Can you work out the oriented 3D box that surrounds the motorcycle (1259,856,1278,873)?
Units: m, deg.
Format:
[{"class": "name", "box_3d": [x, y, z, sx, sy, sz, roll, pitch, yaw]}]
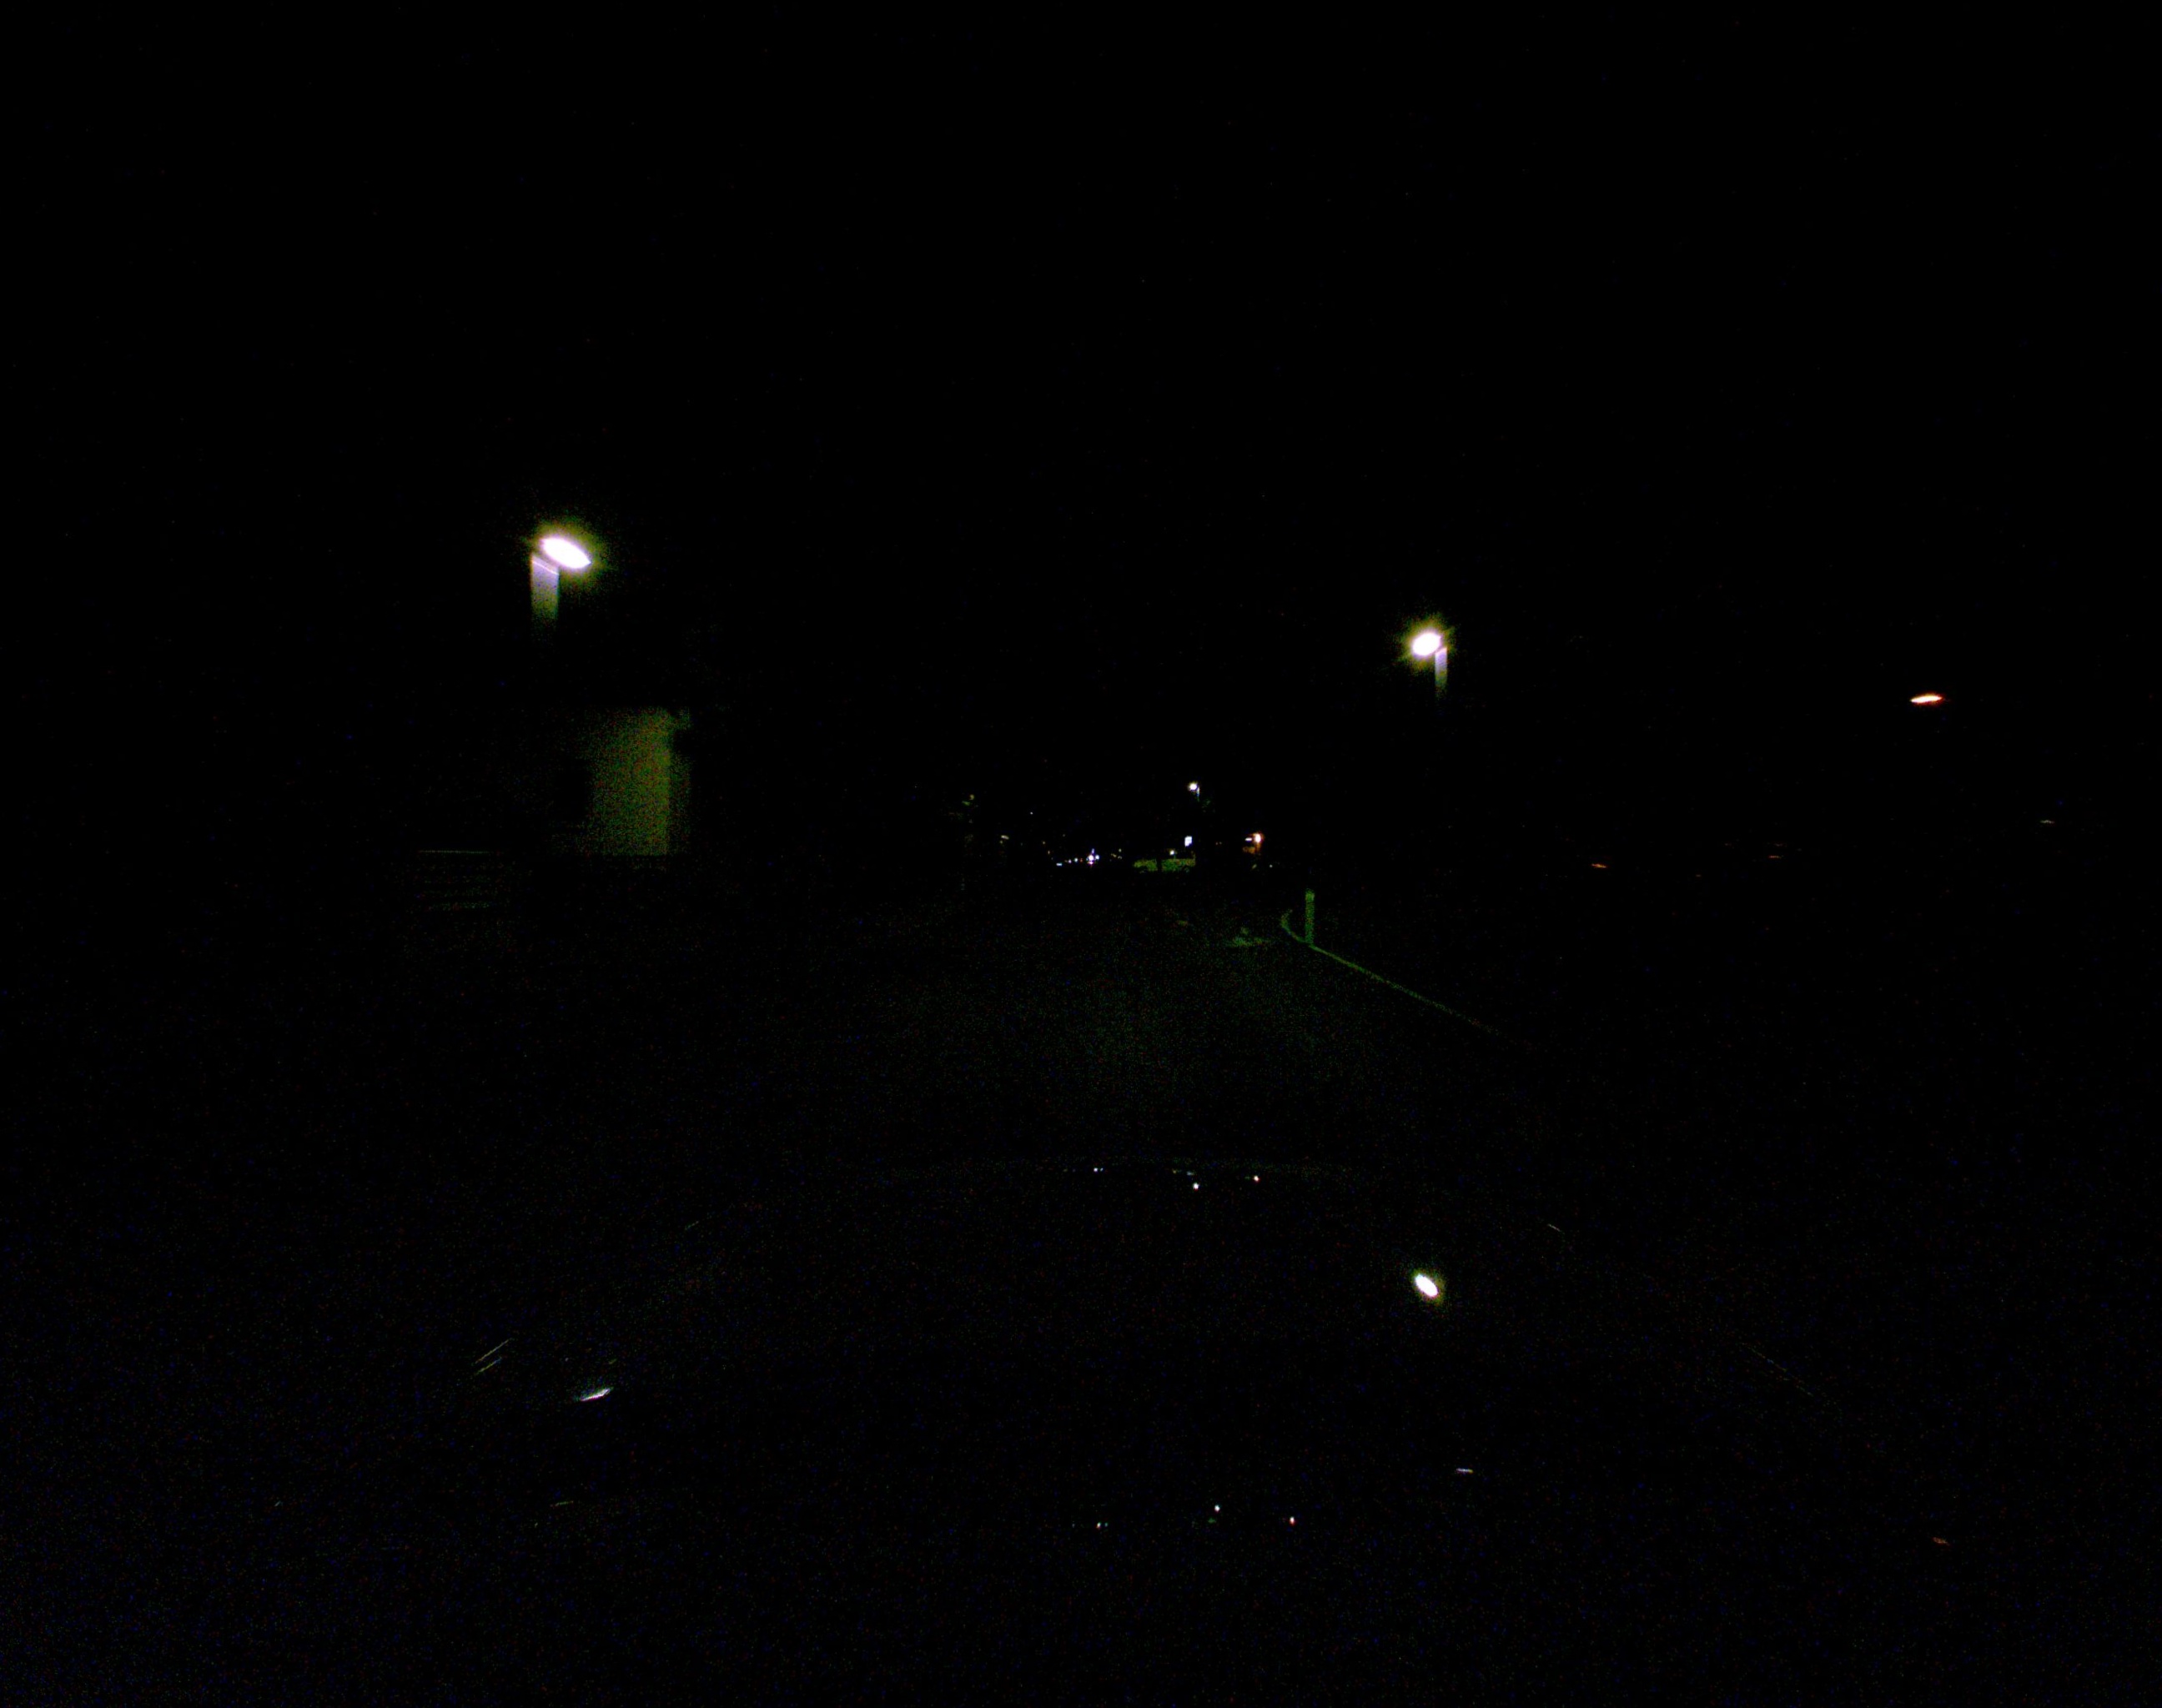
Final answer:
[{"class": "motorcycle", "box_3d": [15.665, 0.839, 67.968, 1.060, 1.327, 2.722, 0, 1, 25]}]

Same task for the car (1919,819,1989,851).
[{"class": "car", "box_3d": [48.339, -1.065, 45.091, 3.435, 1.670, 1.654, -2, 0, -25]}]

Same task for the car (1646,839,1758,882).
[{"class": "car", "box_3d": [24.805, 0.226, 32.543, 4.032, 1.548, 1.602, -2, 0, -20]}]

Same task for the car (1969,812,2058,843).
[{"class": "car", "box_3d": [54.497, -1.547, 47.611, 4.410, 1.670, 1.829, -2, 0, -18]}]

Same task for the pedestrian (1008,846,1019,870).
[{"class": "pedestrian", "box_3d": [-5.857, 0.356, 70.452, 0.782, 2.013, 1.205, 2, 0, 1]}]

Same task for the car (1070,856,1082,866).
[{"class": "car", "box_3d": [-0.663, 0.999, 118.839, 1.677, 1.331, 3.599, 0, 0, 0]}]

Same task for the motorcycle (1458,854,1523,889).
[{"class": "motorcycle", "box_3d": [15.467, 0.643, 30.748, 2.262, 1.214, 0.708, -2, 0, -14]}]

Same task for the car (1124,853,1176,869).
[{"class": "car", "box_3d": [7.109, 0.706, 84.173, 5.165, 1.469, 2.101, -1, 0, 0]}]

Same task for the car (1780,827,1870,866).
[{"class": "car", "box_3d": [34.368, -0.370, 37.609, 4.340, 1.670, 1.746, -2, 0, -29]}]

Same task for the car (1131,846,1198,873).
[{"class": "car", "box_3d": [6.622, 0.430, 65.221, 5.165, 2.013, 2.101, -1, 0, 0]}]

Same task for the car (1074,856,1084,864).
[{"class": "car", "box_3d": [-0.325, 0.926, 134.733, 1.677, 1.331, 3.599, 0, 0, 0]}]

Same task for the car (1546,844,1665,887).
[{"class": "car", "box_3d": [20.021, 0.422, 31.159, 3.625, 1.479, 1.855, -2, 0, -14]}]

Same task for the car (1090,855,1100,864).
[{"class": "car", "box_3d": [2.675, 1.037, 159.489, 1.921, 1.649, 3.821, -1, 0, 0]}]

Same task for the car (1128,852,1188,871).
[{"class": "car", "box_3d": [6.877, 0.643, 73.165, 5.165, 1.594, 2.101, -1, 0, 0]}]

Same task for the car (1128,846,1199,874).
[{"class": "car", "box_3d": [6.262, 0.463, 62.127, 5.165, 2.013, 2.101, -1, 0, 0]}]

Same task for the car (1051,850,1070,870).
[{"class": "car", "box_3d": [-2.156, 0.626, 86.029, 1.819, 1.986, 4.465, 2, 0, 0]}]

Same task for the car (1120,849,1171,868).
[{"class": "car", "box_3d": [6.893, 0.502, 86.898, 5.149, 1.887, 2.108, -1, 0, 10]}]

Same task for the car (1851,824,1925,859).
[{"class": "car", "box_3d": [40.738, -0.632, 41.110, 3.551, 1.670, 1.653, -2, 0, -28]}]

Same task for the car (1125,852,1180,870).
[{"class": "car", "box_3d": [6.863, 0.660, 78.660, 5.165, 1.594, 2.101, -1, 0, 0]}]

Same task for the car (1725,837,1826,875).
[{"class": "car", "box_3d": [29.841, 0.056, 34.964, 4.723, 1.474, 1.746, -2, 0, -29]}]
